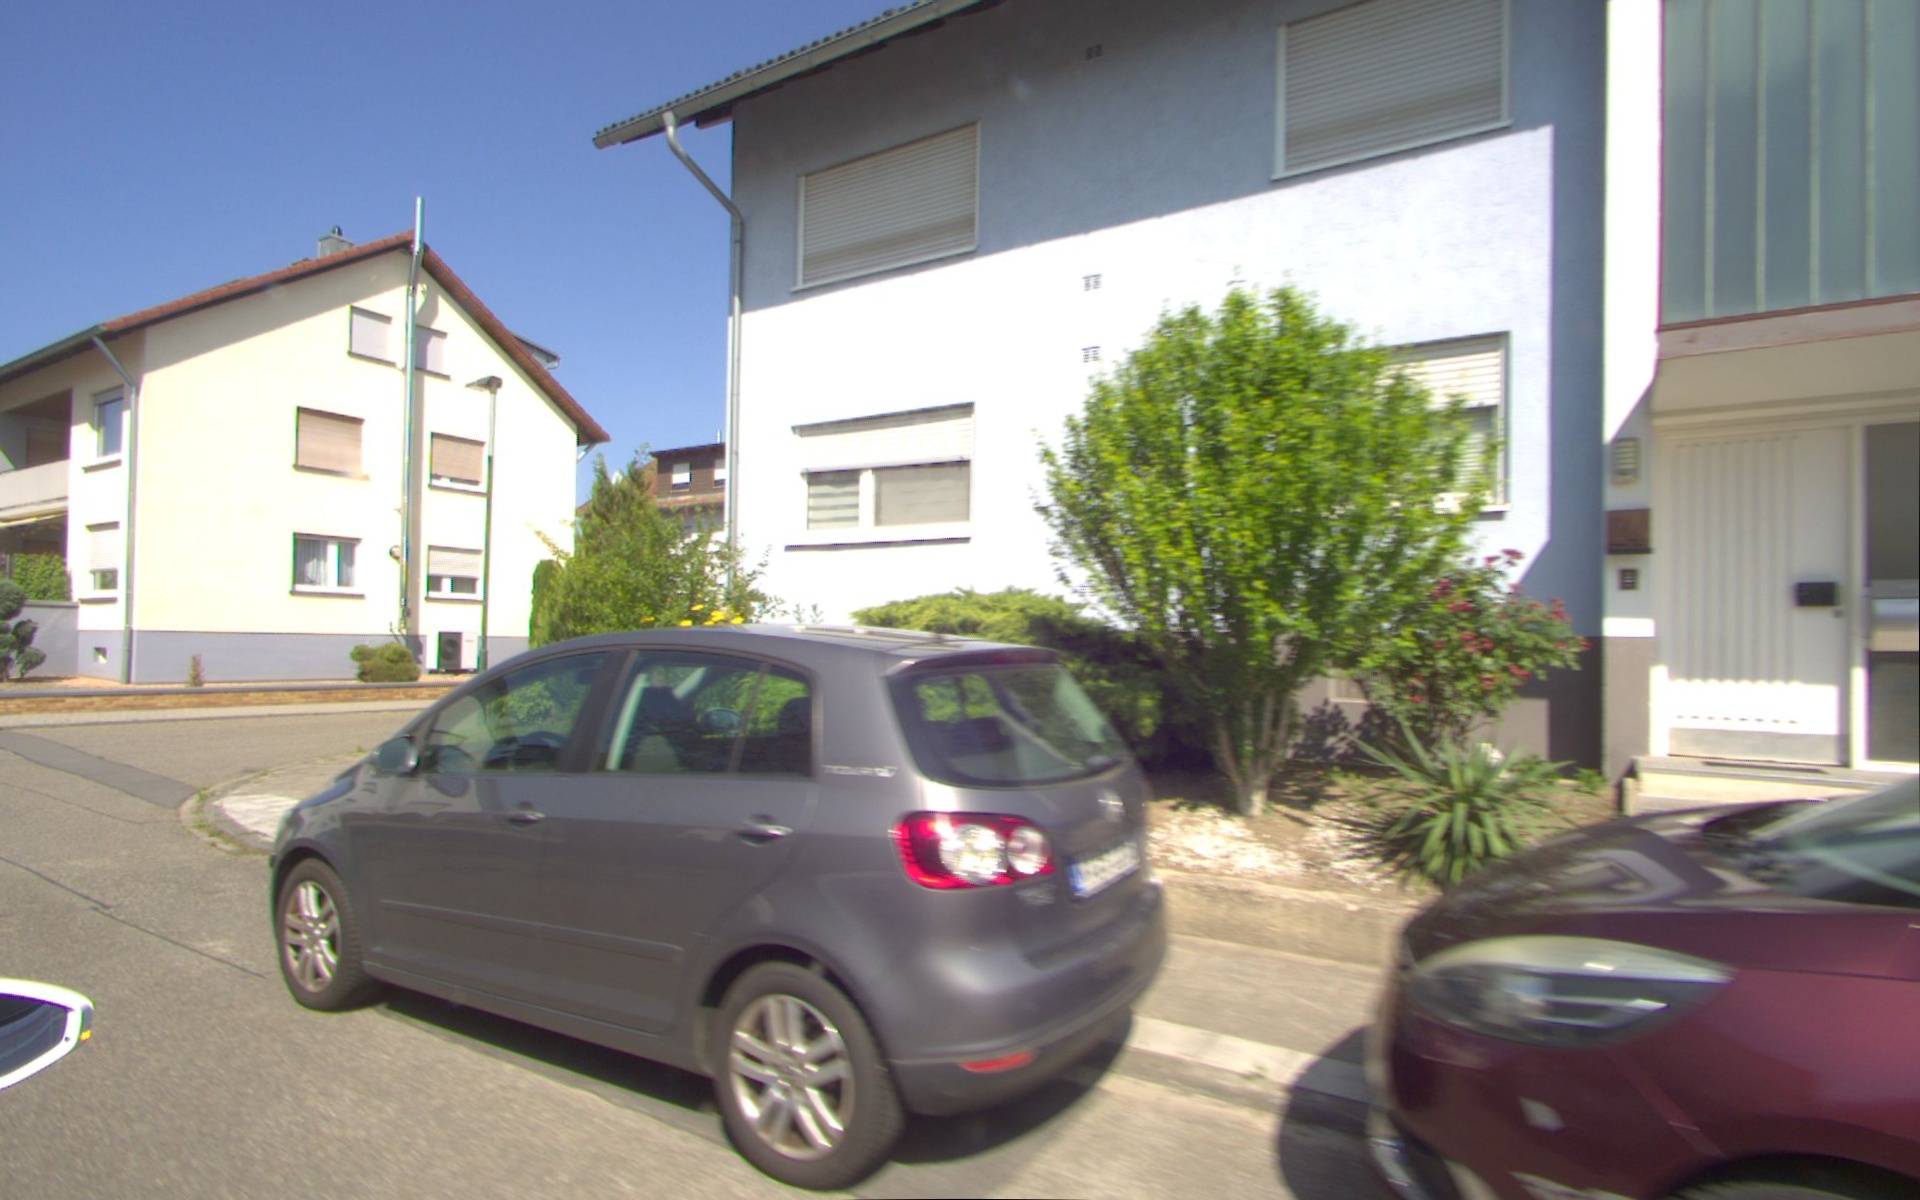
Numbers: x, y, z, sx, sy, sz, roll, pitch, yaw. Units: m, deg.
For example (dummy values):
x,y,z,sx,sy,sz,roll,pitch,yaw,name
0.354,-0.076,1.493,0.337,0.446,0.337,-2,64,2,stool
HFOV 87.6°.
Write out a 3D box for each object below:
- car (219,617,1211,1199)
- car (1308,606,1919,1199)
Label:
x,y,z,sx,sy,sz,roll,pitch,yaw,name
-1.174,0.881,4.138,3.988,1.565,1.643,0,-2,32,car
2.907,0.839,1.738,4.089,1.601,1.642,0,-2,34,car
